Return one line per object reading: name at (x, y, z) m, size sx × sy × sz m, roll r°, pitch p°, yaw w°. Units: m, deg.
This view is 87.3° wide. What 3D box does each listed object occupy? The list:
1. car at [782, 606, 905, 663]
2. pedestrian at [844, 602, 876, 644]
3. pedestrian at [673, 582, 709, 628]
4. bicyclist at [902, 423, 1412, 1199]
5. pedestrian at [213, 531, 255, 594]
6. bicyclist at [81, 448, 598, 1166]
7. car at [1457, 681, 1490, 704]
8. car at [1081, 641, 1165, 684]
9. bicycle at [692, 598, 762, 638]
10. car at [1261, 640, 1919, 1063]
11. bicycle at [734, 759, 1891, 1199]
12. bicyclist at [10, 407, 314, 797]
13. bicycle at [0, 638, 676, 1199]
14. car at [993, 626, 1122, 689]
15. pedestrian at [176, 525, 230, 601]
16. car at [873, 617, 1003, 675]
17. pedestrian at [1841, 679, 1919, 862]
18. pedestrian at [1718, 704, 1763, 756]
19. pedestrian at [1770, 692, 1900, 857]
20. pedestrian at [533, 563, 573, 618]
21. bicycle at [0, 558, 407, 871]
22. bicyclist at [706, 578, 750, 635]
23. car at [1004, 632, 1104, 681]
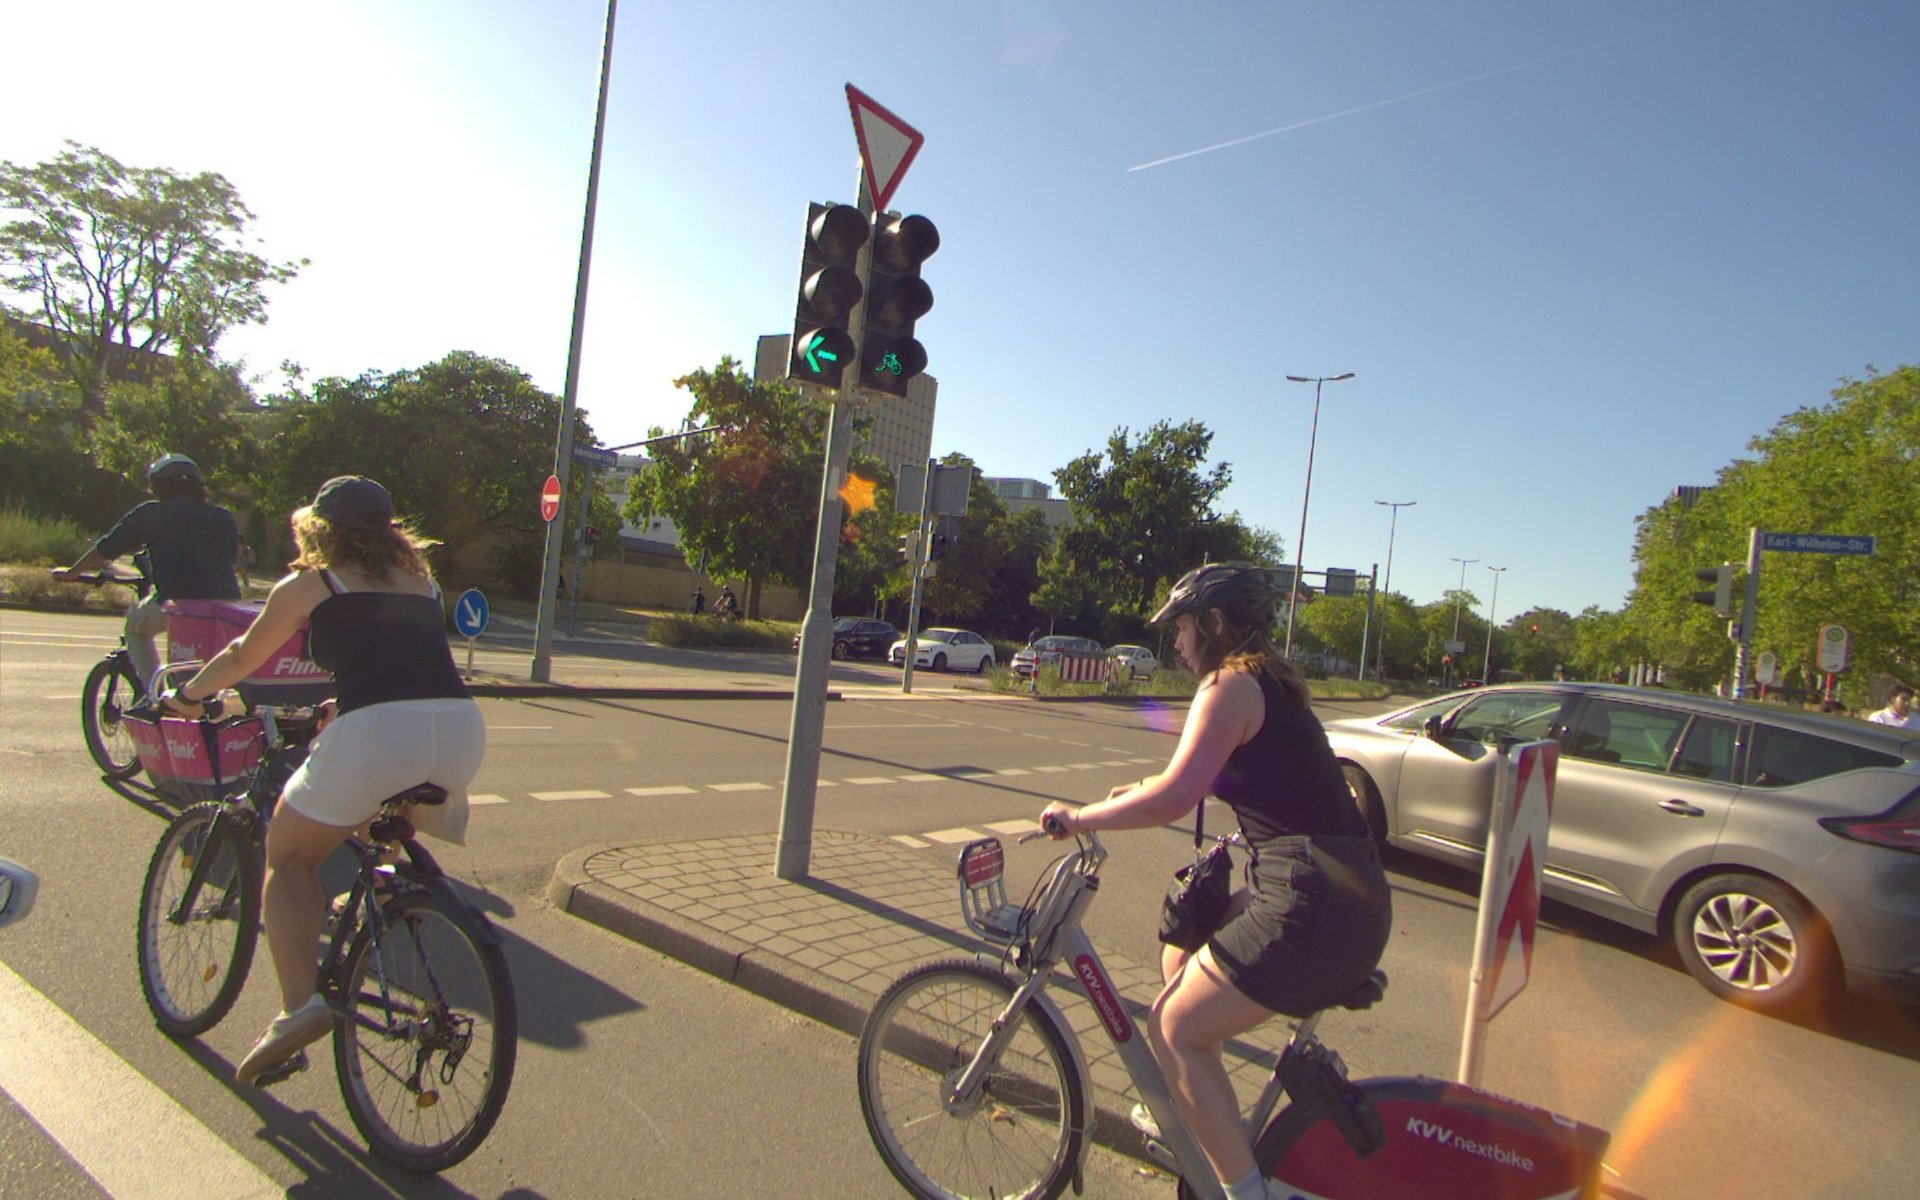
car at (-3.872, 1.190, 34.036) m, size 1.776 × 1.537 × 3.986 m, roll 6°, pitch -1°, yaw 37°
pedestrian at (-4.570, 1.064, 45.979) m, size 1.001 × 1.771 × 0.848 m, roll 7°, pitch 1°, yaw 29°
pedestrian at (-9.935, 0.192, 37.190) m, size 0.750 × 1.562 × 0.846 m, roll 7°, pitch 1°, yaw 29°
bicyclist at (0.489, 0.582, 2.354) m, size 0.834 × 1.810 × 0.717 m, roll 7°, pitch 0°, yaw 24°
pedestrian at (-19.425, -0.999, 26.922) m, size 0.613 × 1.594 × 0.637 m, roll 7°, pitch 1°, yaw 34°
bicyclist at (-1.650, 0.453, 2.725) m, size 0.835 × 1.566 × 0.717 m, roll 6°, pitch -2°, yaw 30°
car at (43.040, 7.724, 84.309) m, size 1.967 × 1.615 × 3.991 m, roll 6°, pitch -1°, yaw 32°
car at (7.223, 2.782, 44.413) m, size 1.896 × 1.537 × 4.003 m, roll 6°, pitch -1°, yaw 37°
bicycle at (-8.215, 0.642, 35.544) m, size 0.770 × 1.170 × 2.279 m, roll 7°, pitch 0°, yaw 43°
car at (4.614, 1.398, 7.113) m, size 1.977 × 1.705 × 4.597 m, roll 7°, pitch -1°, yaw -28°
bicycle at (0.577, 1.130, 2.285) m, size 2.029 × 1.135 × 0.719 m, roll 7°, pitch 0°, yaw 24°
bicyclist at (-4.257, -0.012, 5.380) m, size 1.074 × 1.856 × 0.779 m, roll 7°, pitch 1°, yaw 28°
bicycle at (-1.778, 0.838, 2.751) m, size 1.836 × 1.136 × 0.718 m, roll 11°, pitch 4°, yaw 28°
car at (2.967, 1.739, 29.885) m, size 1.896 × 1.537 × 4.003 m, roll 6°, pitch -1°, yaw 37°
pedestrian at (-18.394, -0.886, 24.436) m, size 0.701 × 1.734 × 0.732 m, roll 7°, pitch 1°, yaw 34°
car at (-0.636, 1.536, 32.891) m, size 1.776 × 1.537 × 4.416 m, roll 6°, pitch -1°, yaw 37°
pedestrian at (10.771, 1.922, 11.423) m, size 0.699 × 1.920 × 0.871 m, roll 5°, pitch 3°, yaw 17°
pedestrian at (25.578, 4.242, 32.984) m, size 0.958 × 1.556 × 0.920 m, roll 6°, pitch 0°, yaw 35°
pedestrian at (10.088, 1.982, 11.644) m, size 0.699 × 1.697 × 0.872 m, roll 5°, pitch 3°, yaw 17°
pedestrian at (-13.662, -0.306, 33.779) m, size 0.664 × 1.725 × 0.875 m, roll 7°, pitch 1°, yaw 29°
bicycle at (-4.112, 0.493, 5.282) m, size 2.536 × 1.170 × 0.779 m, roll 6°, pitch 0°, yaw 28°
bicyclist at (-8.186, 0.225, 35.520) m, size 0.770 × 1.853 × 1.087 m, roll 7°, pitch 1°, yaw 44°
car at (3.665, 2.189, 38.798) m, size 1.896 × 1.537 × 4.003 m, roll 6°, pitch -1°, yaw 37°
